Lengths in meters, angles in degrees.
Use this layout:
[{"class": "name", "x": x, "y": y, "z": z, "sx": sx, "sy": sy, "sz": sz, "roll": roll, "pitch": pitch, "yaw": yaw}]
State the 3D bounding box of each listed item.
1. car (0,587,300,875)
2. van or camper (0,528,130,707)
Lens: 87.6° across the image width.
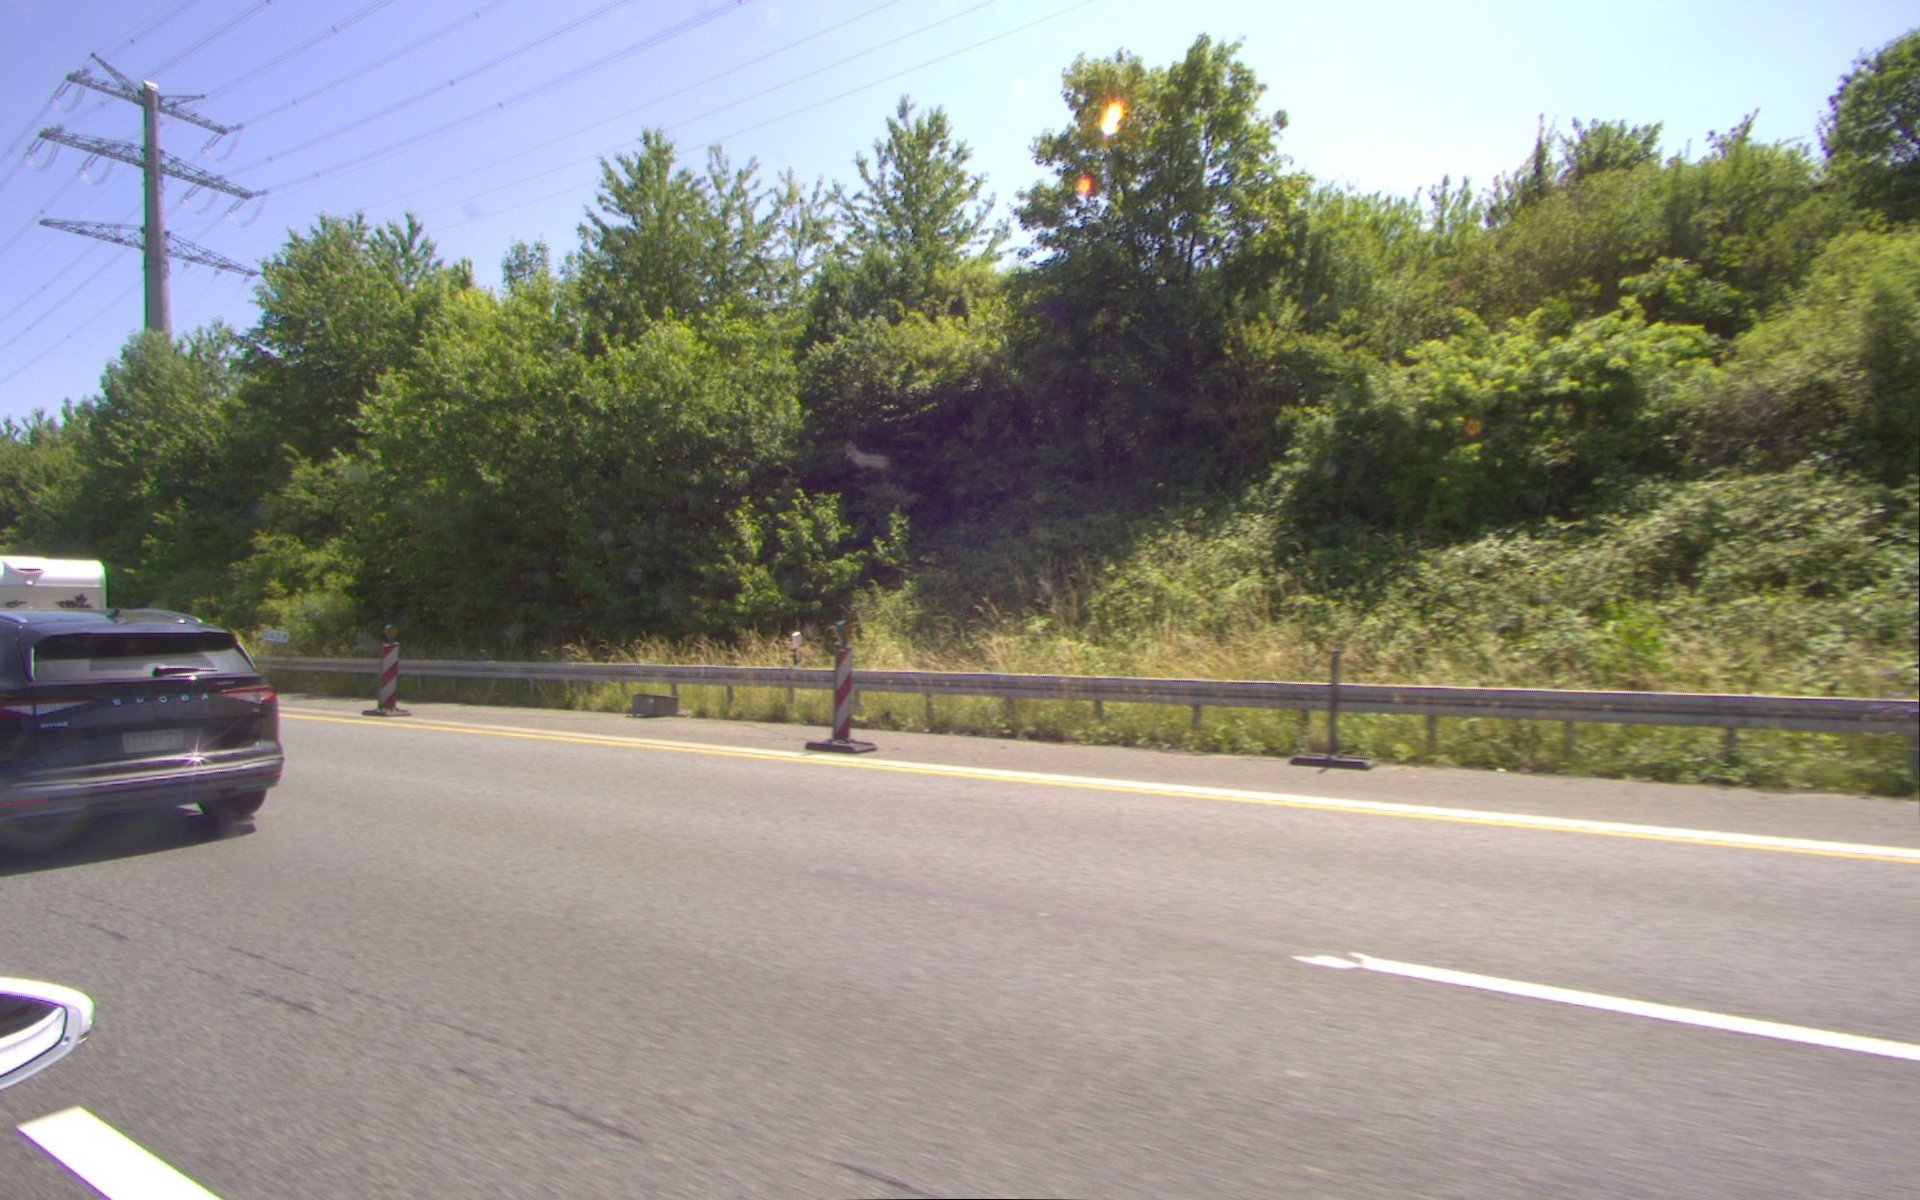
[{"class": "car", "x": -7.070, "y": 0.820, "z": 7.615, "sx": 4.364, "sy": 1.676, "sz": 1.699, "roll": -1, "pitch": -2, "yaw": 31}, {"class": "van or camper", "x": -19.408, "y": 0.383, "z": 19.824, "sx": 7.523, "sy": 3.082, "sz": 2.365, "roll": -1, "pitch": -2, "yaw": 32}]
